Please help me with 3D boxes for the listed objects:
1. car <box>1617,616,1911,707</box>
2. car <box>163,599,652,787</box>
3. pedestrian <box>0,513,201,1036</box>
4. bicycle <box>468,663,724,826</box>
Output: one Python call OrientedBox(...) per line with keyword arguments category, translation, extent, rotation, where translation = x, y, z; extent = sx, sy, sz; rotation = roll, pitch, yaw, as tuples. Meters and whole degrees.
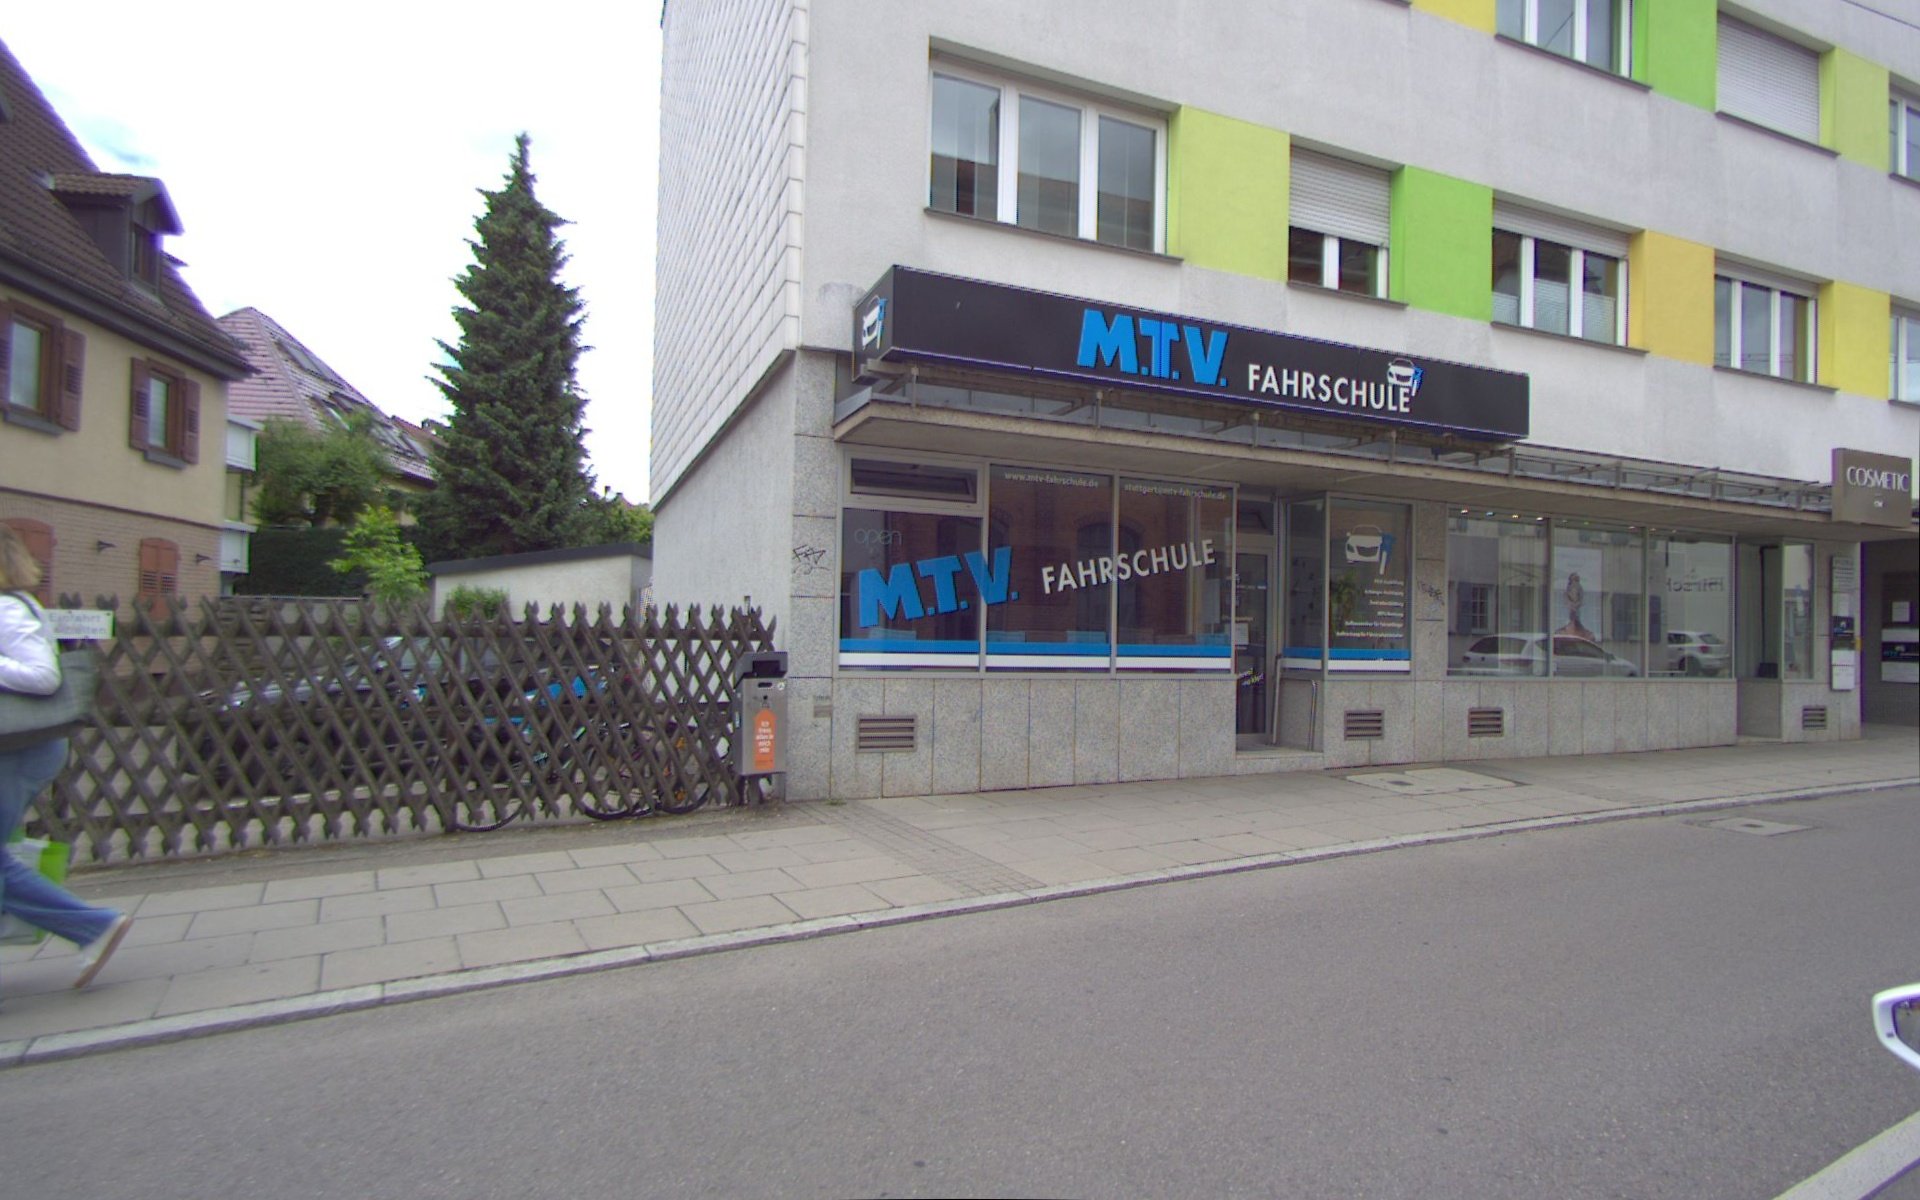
OrientedBox(category="car", translation=(15.200, 1.083, 19.241), extent=(1.973, 1.550, 3.975), rotation=(1, -1, -25))
OrientedBox(category="car", translation=(-5.693, 0.853, 10.619), extent=(4.252, 1.584, 1.977), rotation=(2, -2, -39))
OrientedBox(category="pedestrian", translation=(-3.310, 0.571, 3.637), extent=(0.853, 1.687, 0.886), rotation=(1, -2, -37))
OrientedBox(category="bicycle", translation=(-2.633, 1.011, 7.368), extent=(1.728, 1.067, 0.321), rotation=(1, -1, -30))
